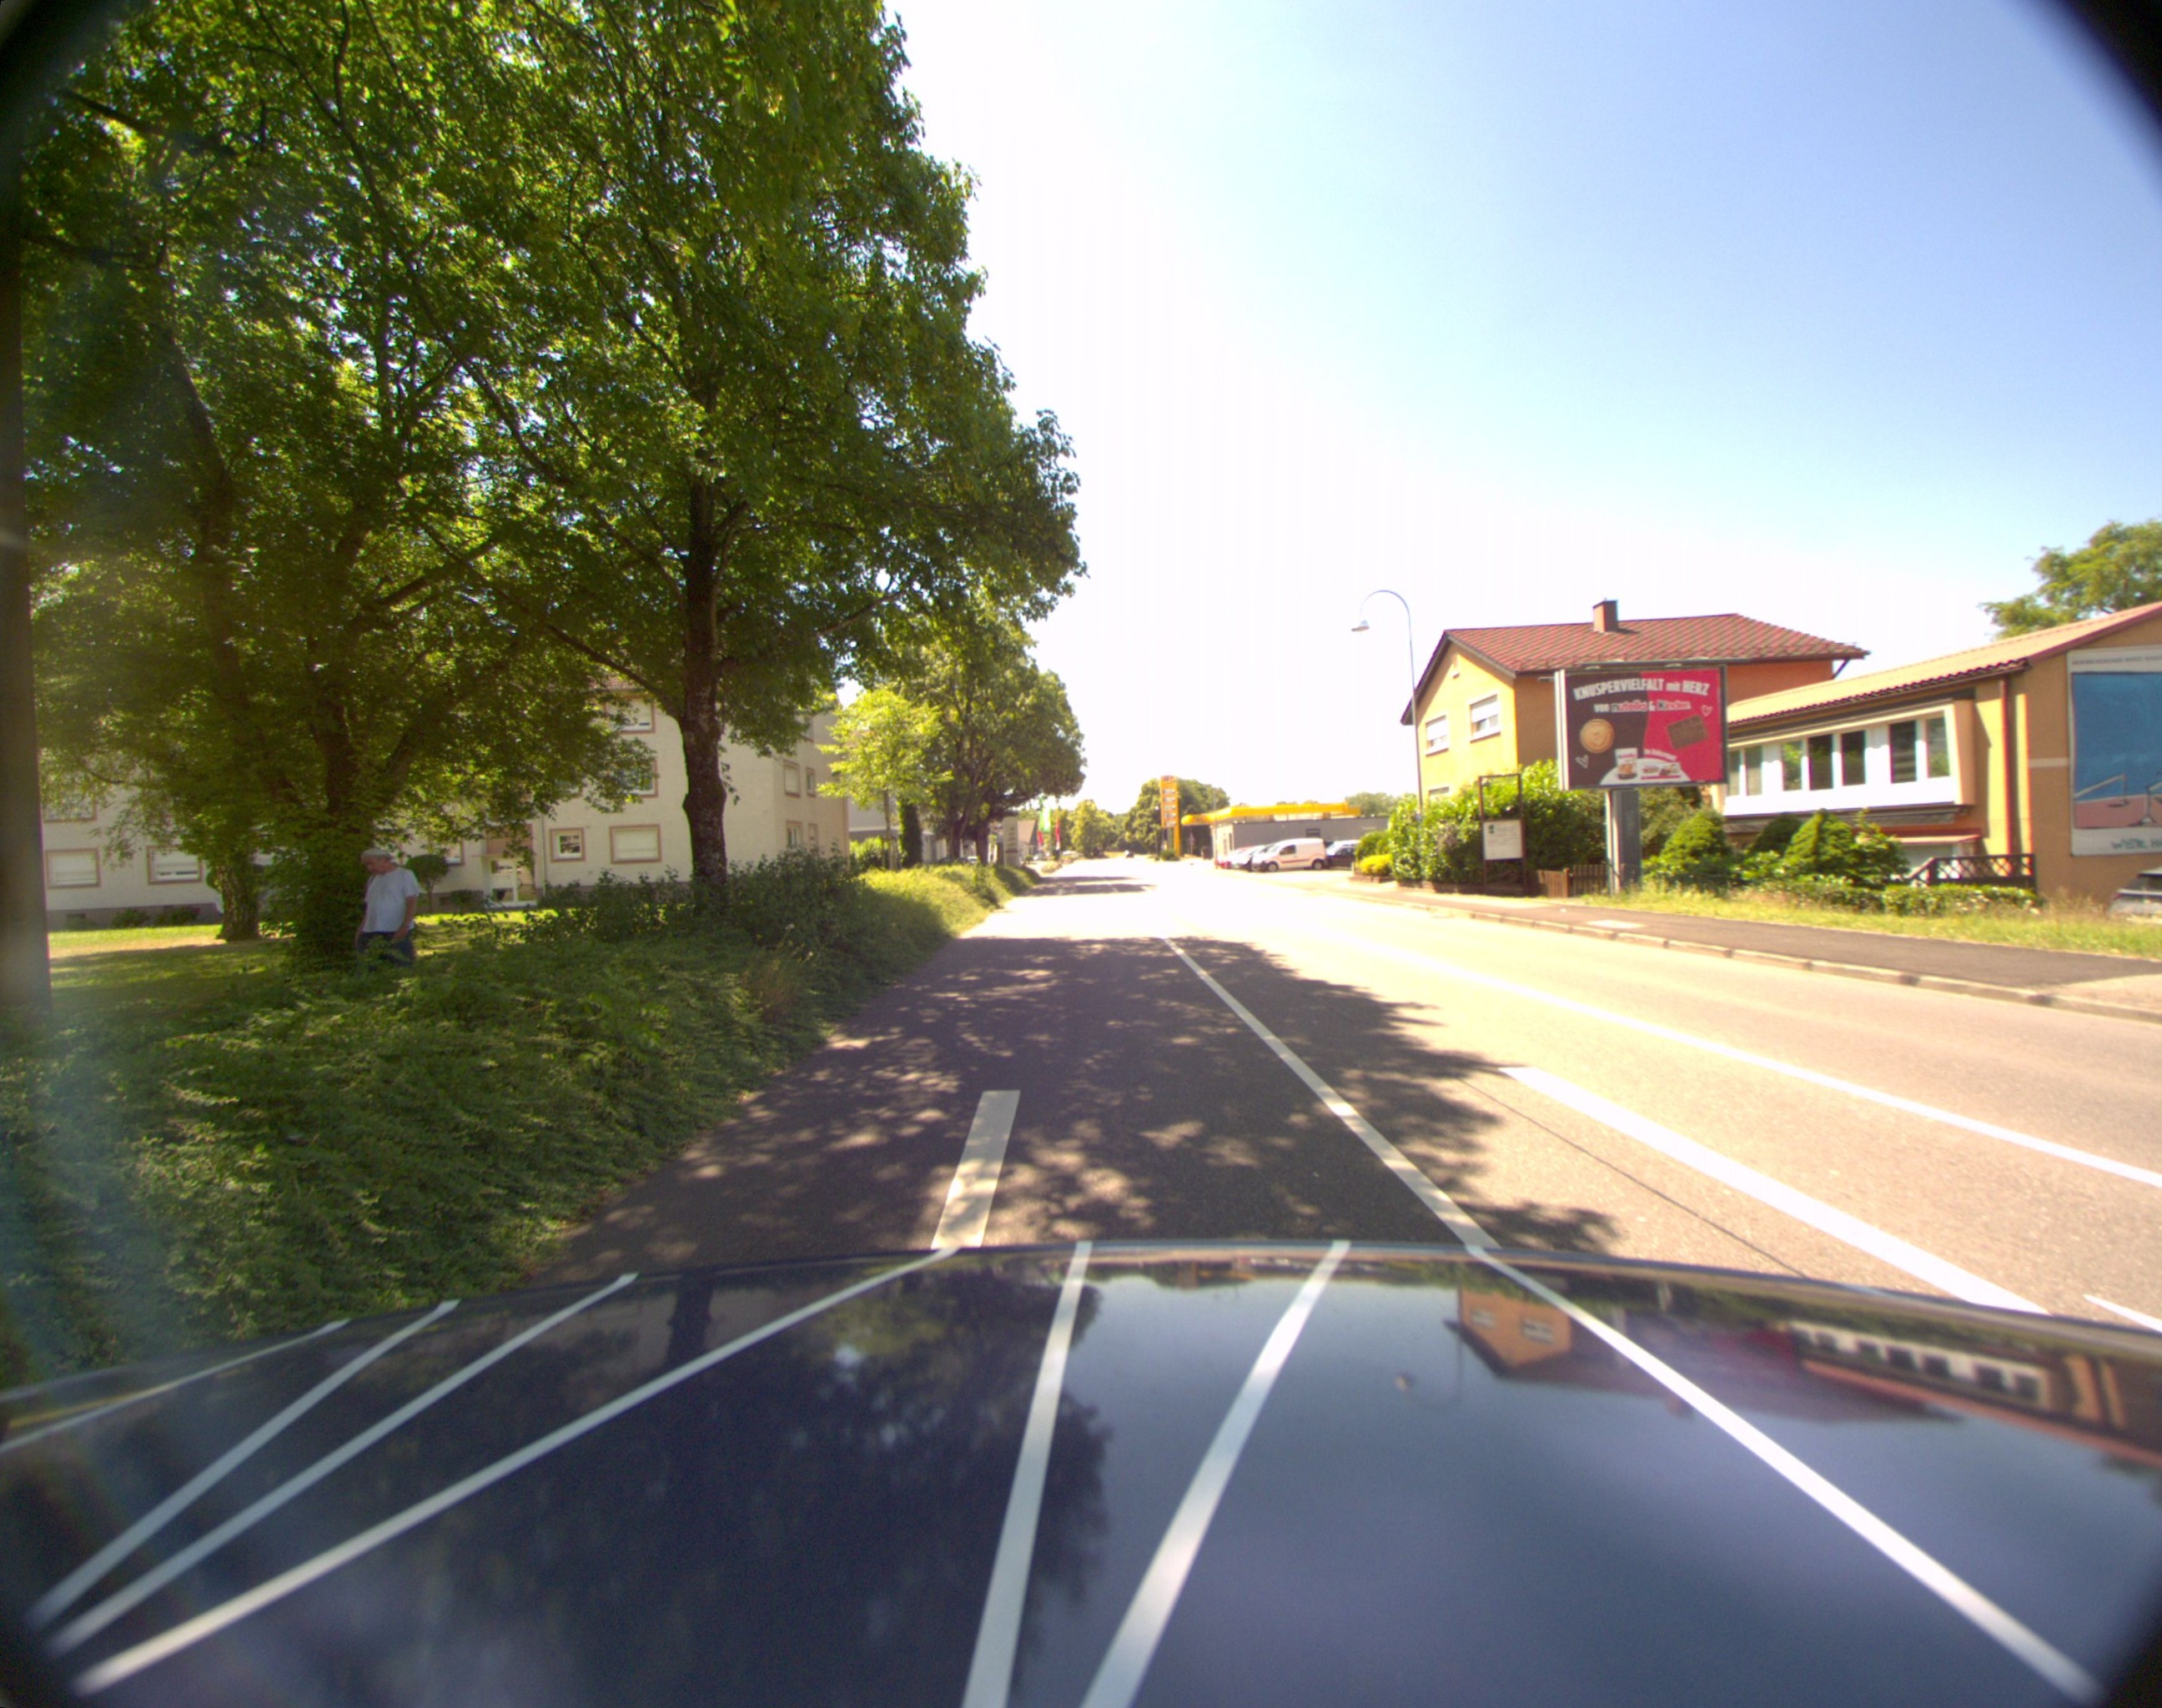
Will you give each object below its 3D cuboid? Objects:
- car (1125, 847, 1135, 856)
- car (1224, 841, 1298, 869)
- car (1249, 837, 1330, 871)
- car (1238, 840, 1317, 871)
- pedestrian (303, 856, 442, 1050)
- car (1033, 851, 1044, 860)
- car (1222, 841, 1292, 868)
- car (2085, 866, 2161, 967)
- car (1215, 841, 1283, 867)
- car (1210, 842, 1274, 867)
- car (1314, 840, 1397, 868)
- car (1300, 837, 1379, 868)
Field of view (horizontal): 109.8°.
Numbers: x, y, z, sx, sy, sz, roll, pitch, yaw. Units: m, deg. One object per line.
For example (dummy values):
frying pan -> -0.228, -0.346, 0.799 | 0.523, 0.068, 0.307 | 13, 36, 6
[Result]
car -> 9.779, -0.513, 151.529 | 1.809, 1.552, 4.063 | -2, 1, 3
car -> 12.053, 0.075, 51.061 | 4.402, 1.750, 1.874 | -2, 1, -5
car -> 12.148, -0.007, 44.398 | 4.191, 1.858, 1.874 | -2, 1, -5
car -> 11.991, 0.072, 46.458 | 4.246, 1.750, 1.874 | -2, 1, -5
pedestrian -> -7.347, 0.970, 7.933 | 0.675, 1.863, 0.901 | -3, 2, -21
car -> -7.721, 0.277, 138.399 | 1.772, 1.521, 4.128 | -2, 1, -5
car -> 12.277, 0.020, 53.235 | 4.402, 1.750, 1.874 | -2, 1, -5
car -> 19.817, 1.000, 12.353 | 4.224, 1.599, 1.772 | -1, 1, 7
car -> 12.243, -0.024, 55.489 | 4.402, 1.750, 1.874 | -2, 1, -5
car -> 12.227, 0.018, 57.950 | 4.402, 1.750, 1.874 | -2, 1, -5
car -> 16.745, 0.009, 46.438 | 4.402, 1.554, 1.874 | -2, 1, -5
car -> 16.543, -0.120, 48.699 | 4.402, 1.815, 1.874 | -2, 1, -5
